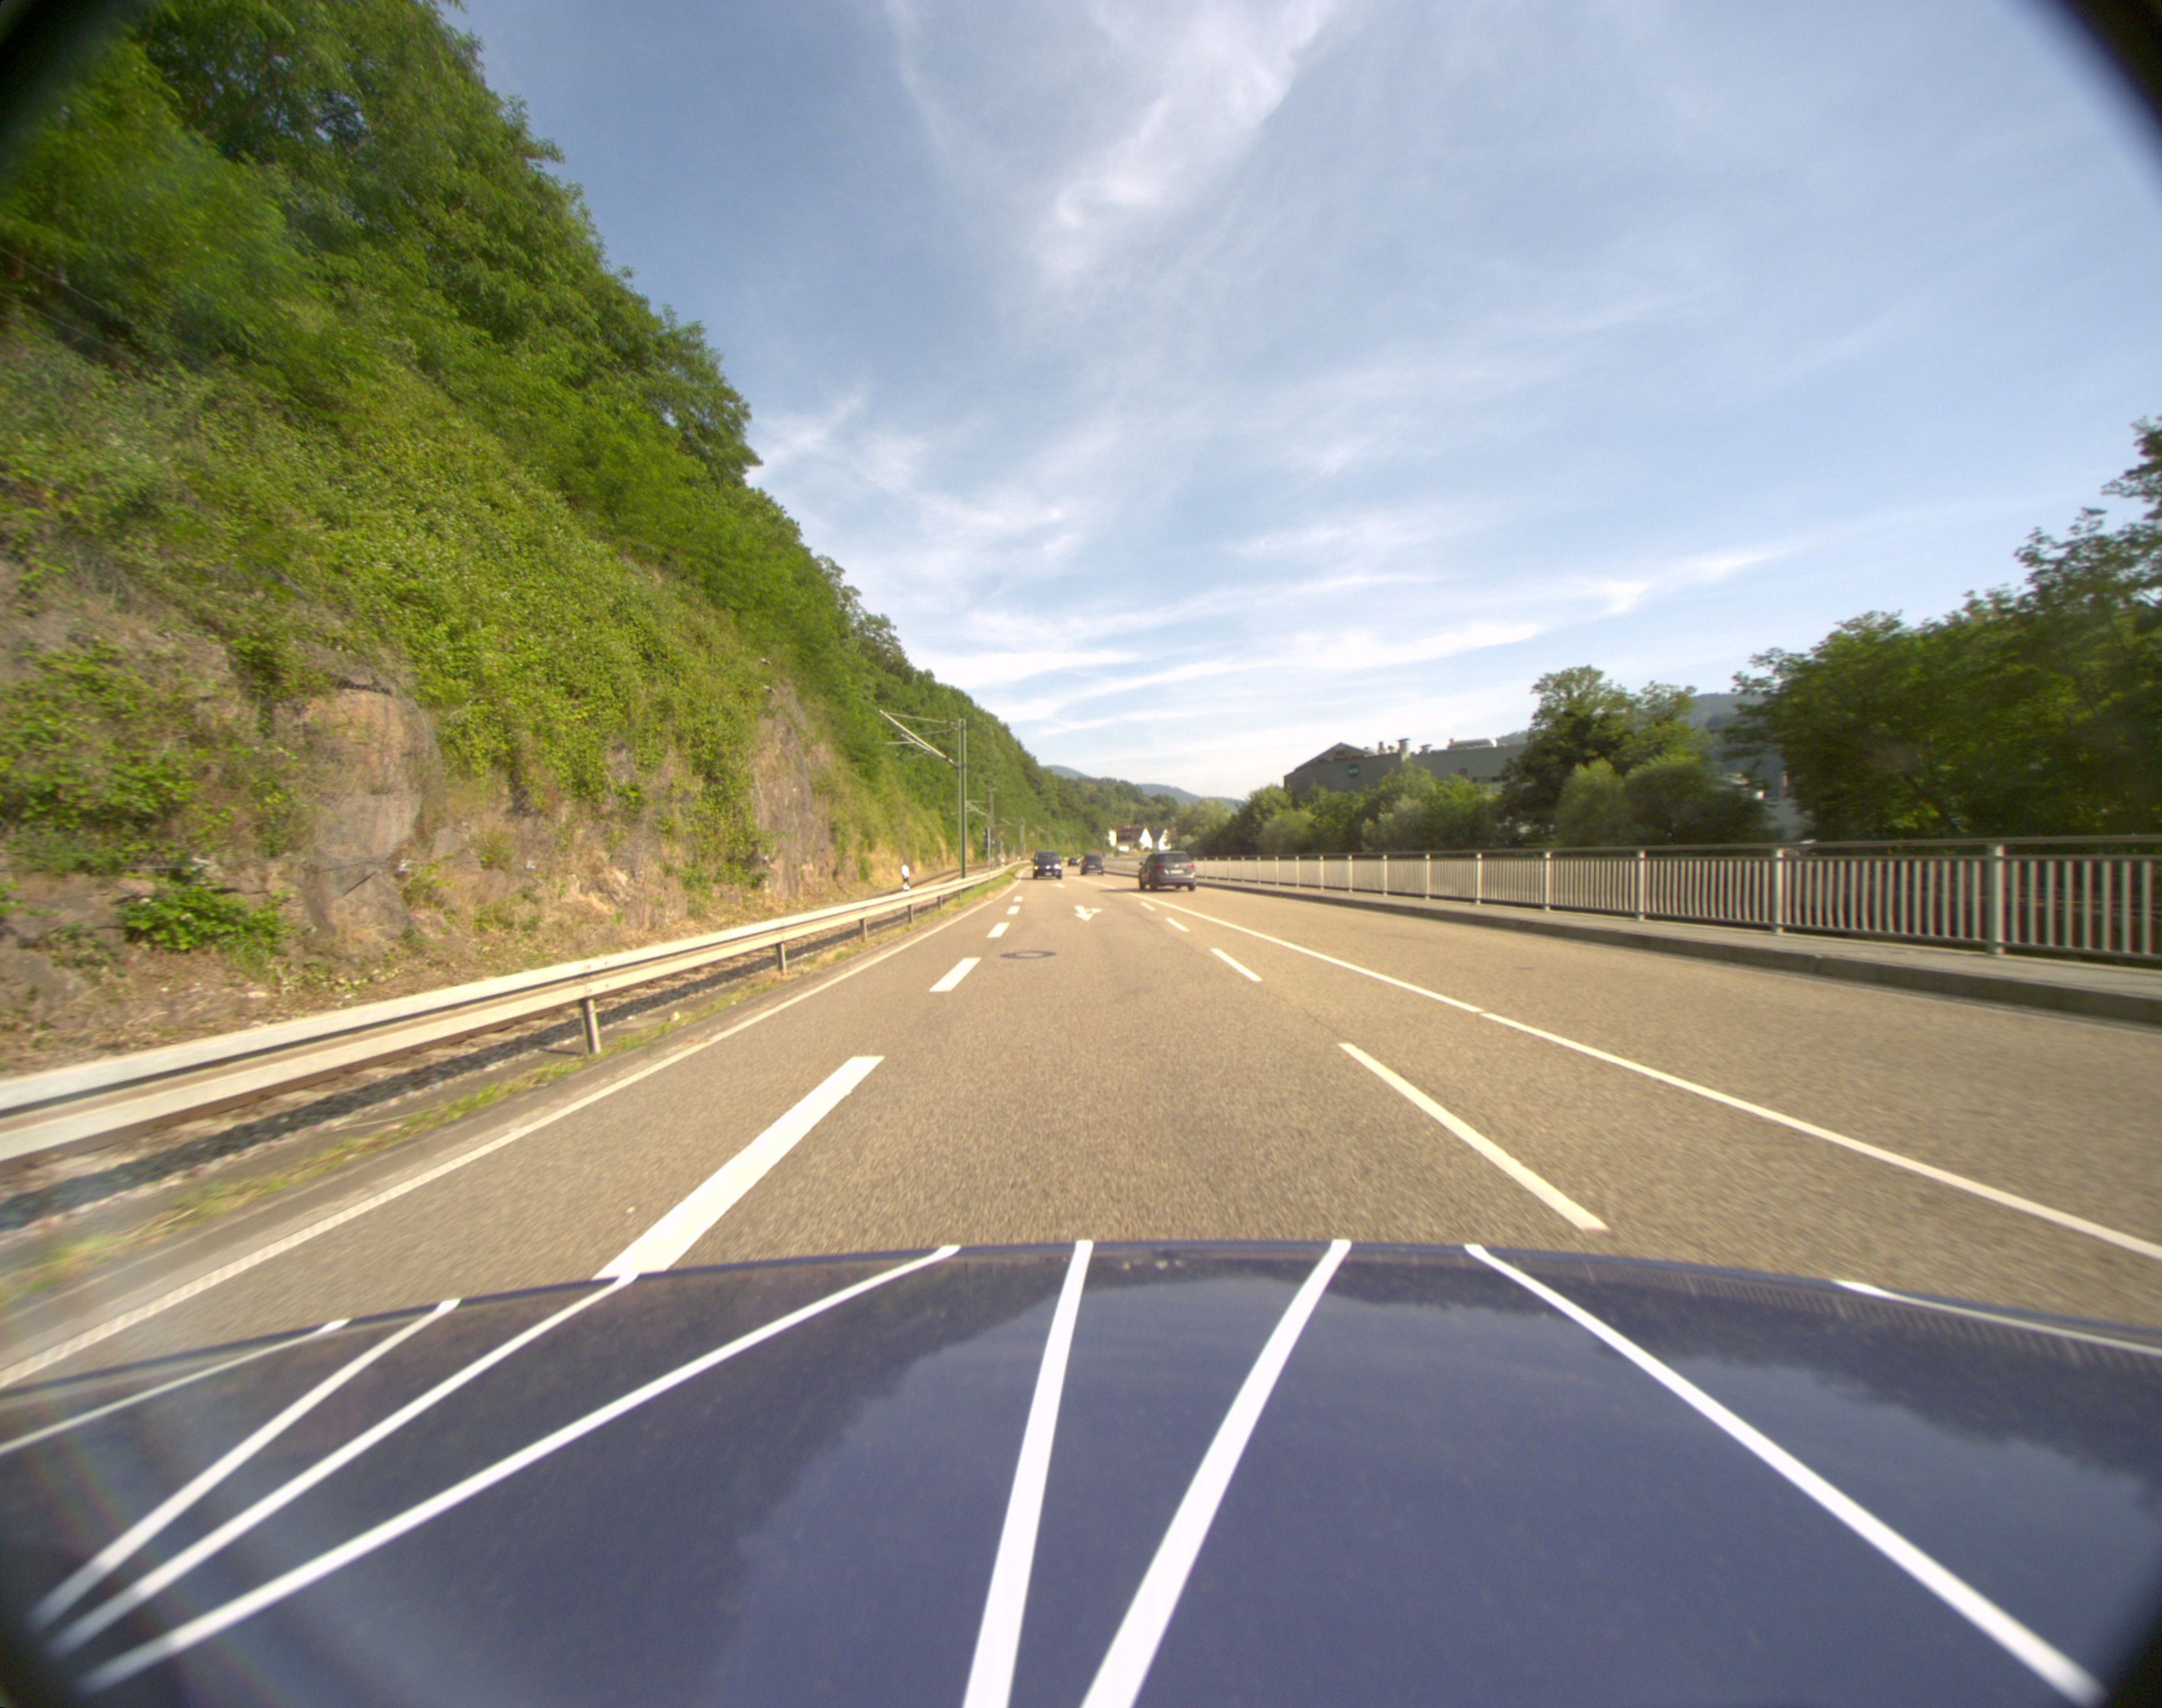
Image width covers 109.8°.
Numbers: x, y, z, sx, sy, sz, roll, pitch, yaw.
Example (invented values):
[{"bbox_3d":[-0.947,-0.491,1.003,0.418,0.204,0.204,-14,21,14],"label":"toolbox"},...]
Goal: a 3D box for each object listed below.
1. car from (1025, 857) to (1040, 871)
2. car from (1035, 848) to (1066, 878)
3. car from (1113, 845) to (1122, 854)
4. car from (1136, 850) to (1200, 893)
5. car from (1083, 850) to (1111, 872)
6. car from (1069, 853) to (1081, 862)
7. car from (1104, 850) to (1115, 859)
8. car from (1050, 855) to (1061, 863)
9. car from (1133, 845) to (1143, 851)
[{"bbox_3d":[-5.728,1.171,89.739,1.768,1.452,3.574,0,1,-4],"label":"car"},{"bbox_3d":[-2.094,0.606,52.400,1.909,1.868,4.347,-4,-1,-3],"label":"car"},{"bbox_3d":[8.540,-1.039,178.311,1.998,2.002,4.001,-2,0,3],"label":"car"},{"bbox_3d":[3.571,0.672,32.018,1.822,1.637,4.610,-1,0,-5],"label":"car"},{"bbox_3d":[1.276,0.567,64.121,1.797,1.817,4.826,-1,0,-6],"label":"car"},{"bbox_3d":[-0.951,0.514,118.995,1.725,1.427,4.339,0,0,-1],"label":"car"},{"bbox_3d":[7.617,0.125,200.985,2.162,2.517,6.582,1,0,8],"label":"car"},{"bbox_3d":[-4.465,0.913,133.511,1.764,1.304,3.749,-2,0,0],"label":"car"},{"bbox_3d":[18.840,-1.944,251.818,1.994,1.671,4.008,3,0,26],"label":"car"}]
